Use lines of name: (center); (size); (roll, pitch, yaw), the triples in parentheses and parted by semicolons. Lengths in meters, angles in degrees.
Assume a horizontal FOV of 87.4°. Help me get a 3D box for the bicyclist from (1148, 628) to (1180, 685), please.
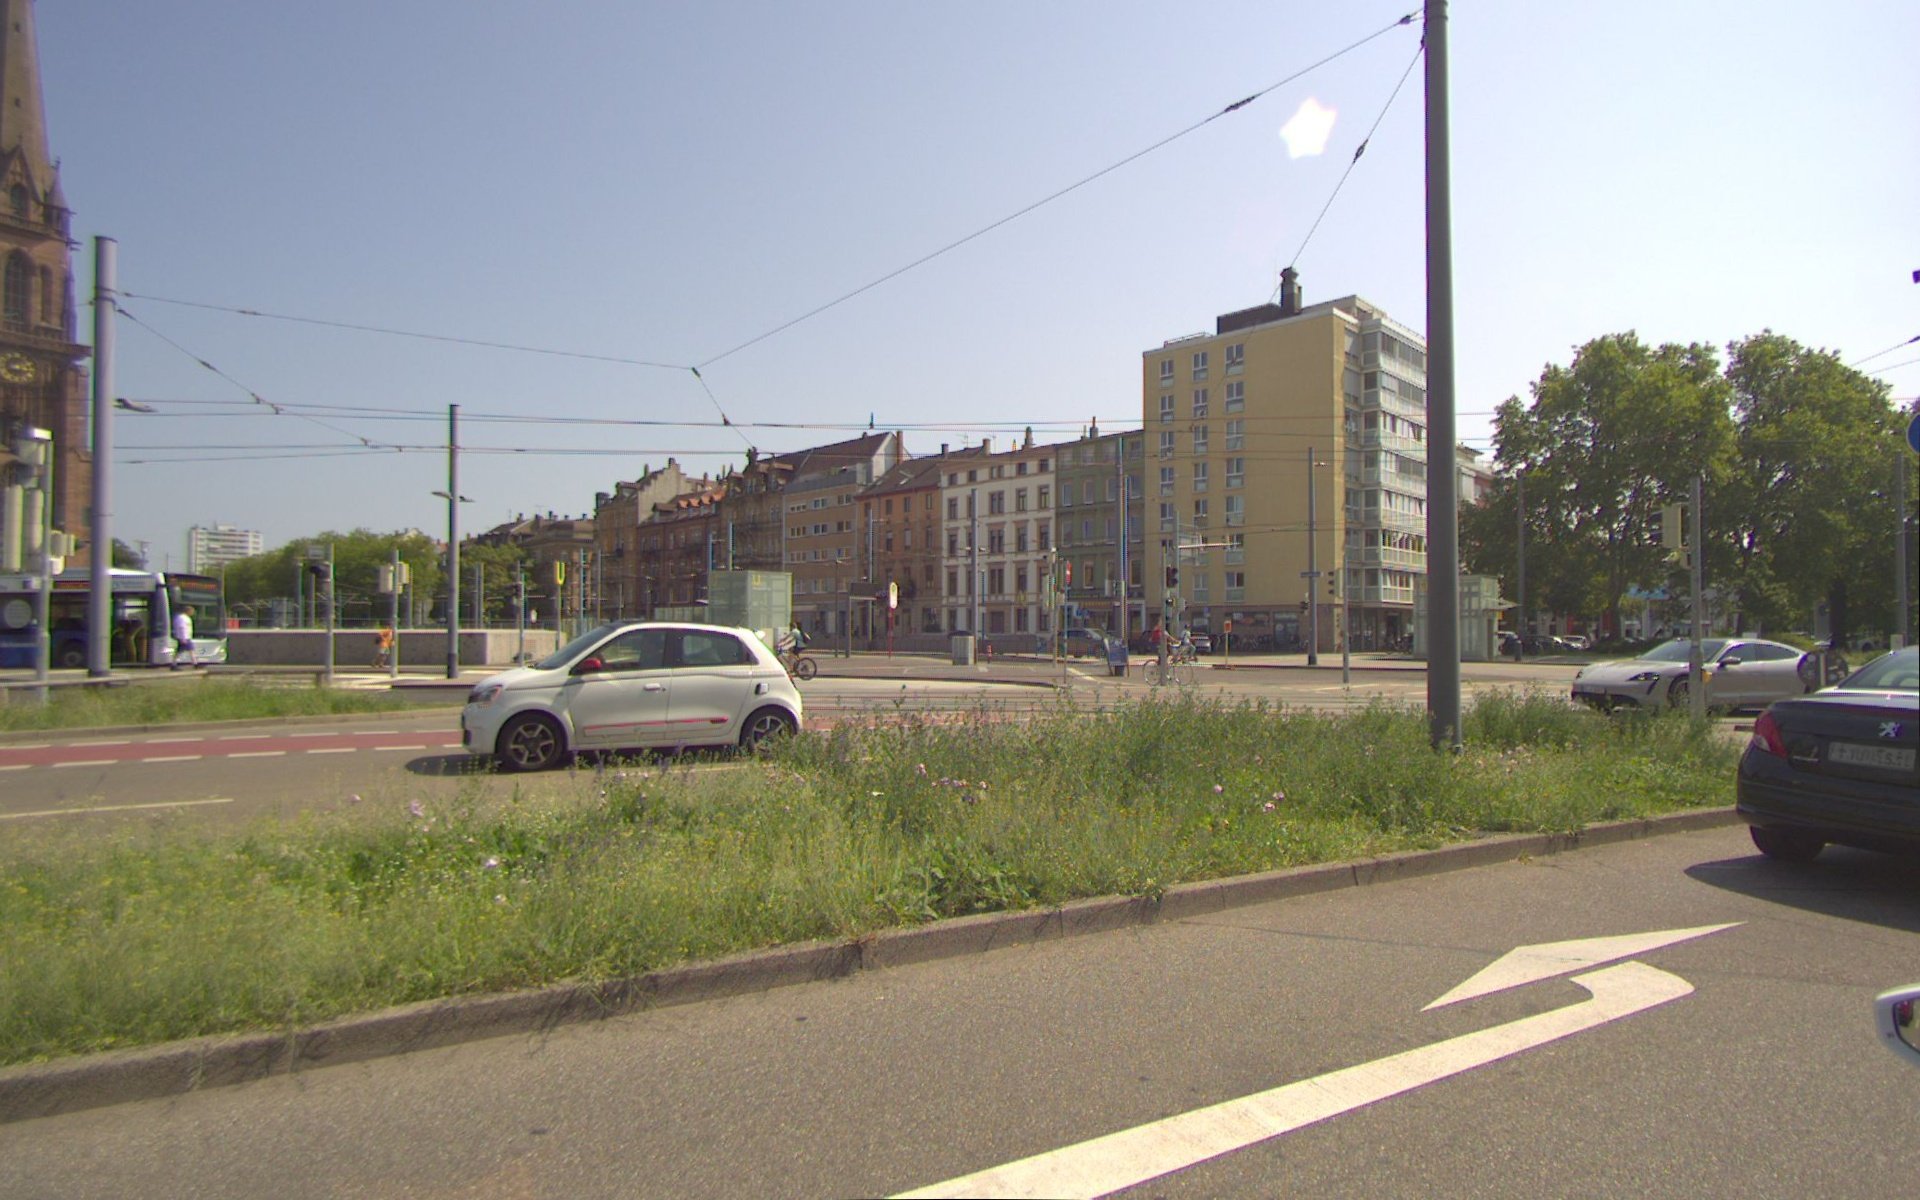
bicyclist: (5.530, 1.525, 27.223); (0.632, 1.529, 0.554); (1, -1, -34)

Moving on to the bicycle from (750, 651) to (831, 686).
bicycle: (-5.234, 2.109, 31.044); (2.315, 1.056, 0.962); (0, -2, 1)

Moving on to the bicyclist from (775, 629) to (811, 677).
bicyclist: (-5.183, 1.646, 31.233); (0.989, 1.446, 0.656); (2, 0, -1)

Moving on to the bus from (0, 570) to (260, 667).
bus: (-28.548, 0.563, 30.513); (12.099, 2.748, 3.406); (0, -1, 0)

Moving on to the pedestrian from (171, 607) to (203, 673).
pedestrian: (-21.901, 1.137, 28.466); (0.631, 1.835, 0.596); (2, 0, -33)

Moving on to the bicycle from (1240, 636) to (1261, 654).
bicycle: (20.240, 3.125, 70.081); (0.891, 1.220, 3.265); (0, -2, 6)

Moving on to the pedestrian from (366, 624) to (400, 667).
pedestrian: (-21.351, 1.673, 37.203); (0.843, 1.563, 0.742); (0, -1, -9)

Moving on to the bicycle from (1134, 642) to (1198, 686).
bicycle: (5.531, 1.713, 27.082); (0.498, 1.108, 1.919); (1, -2, -33)

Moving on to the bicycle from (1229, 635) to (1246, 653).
bicycle: (19.541, 3.117, 70.766); (0.680, 1.220, 3.265); (0, -2, 6)

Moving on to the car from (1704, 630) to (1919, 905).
car: (6.658, 0.921, 6.178); (3.729, 1.406, 1.761); (1, 0, -24)

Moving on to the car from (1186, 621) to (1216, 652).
car: (15.354, 2.327, 64.183); (1.767, 1.951, 4.003); (0, -2, 12)

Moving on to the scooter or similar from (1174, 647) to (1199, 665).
scooter or similar: (10.571, 2.609, 46.860); (1.132, 0.835, 0.517); (1, -2, -34)

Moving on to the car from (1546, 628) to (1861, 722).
car: (13.620, 1.330, 18.533); (4.629, 1.606, 1.997); (0, -1, -9)

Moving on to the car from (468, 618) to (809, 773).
car: (-3.567, 0.966, 11.207); (3.433, 1.498, 1.516); (1, -2, -27)

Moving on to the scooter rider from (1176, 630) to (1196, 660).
scooter rider: (10.566, 2.112, 46.993); (0.602, 1.371, 0.682); (1, -1, -34)

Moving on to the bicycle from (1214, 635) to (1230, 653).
bicycle: (18.708, 3.119, 71.689); (0.680, 1.220, 2.793); (0, -2, 6)

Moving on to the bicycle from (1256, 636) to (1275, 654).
bicycle: (20.970, 3.085, 69.030); (0.680, 1.220, 3.265); (0, -2, 6)
